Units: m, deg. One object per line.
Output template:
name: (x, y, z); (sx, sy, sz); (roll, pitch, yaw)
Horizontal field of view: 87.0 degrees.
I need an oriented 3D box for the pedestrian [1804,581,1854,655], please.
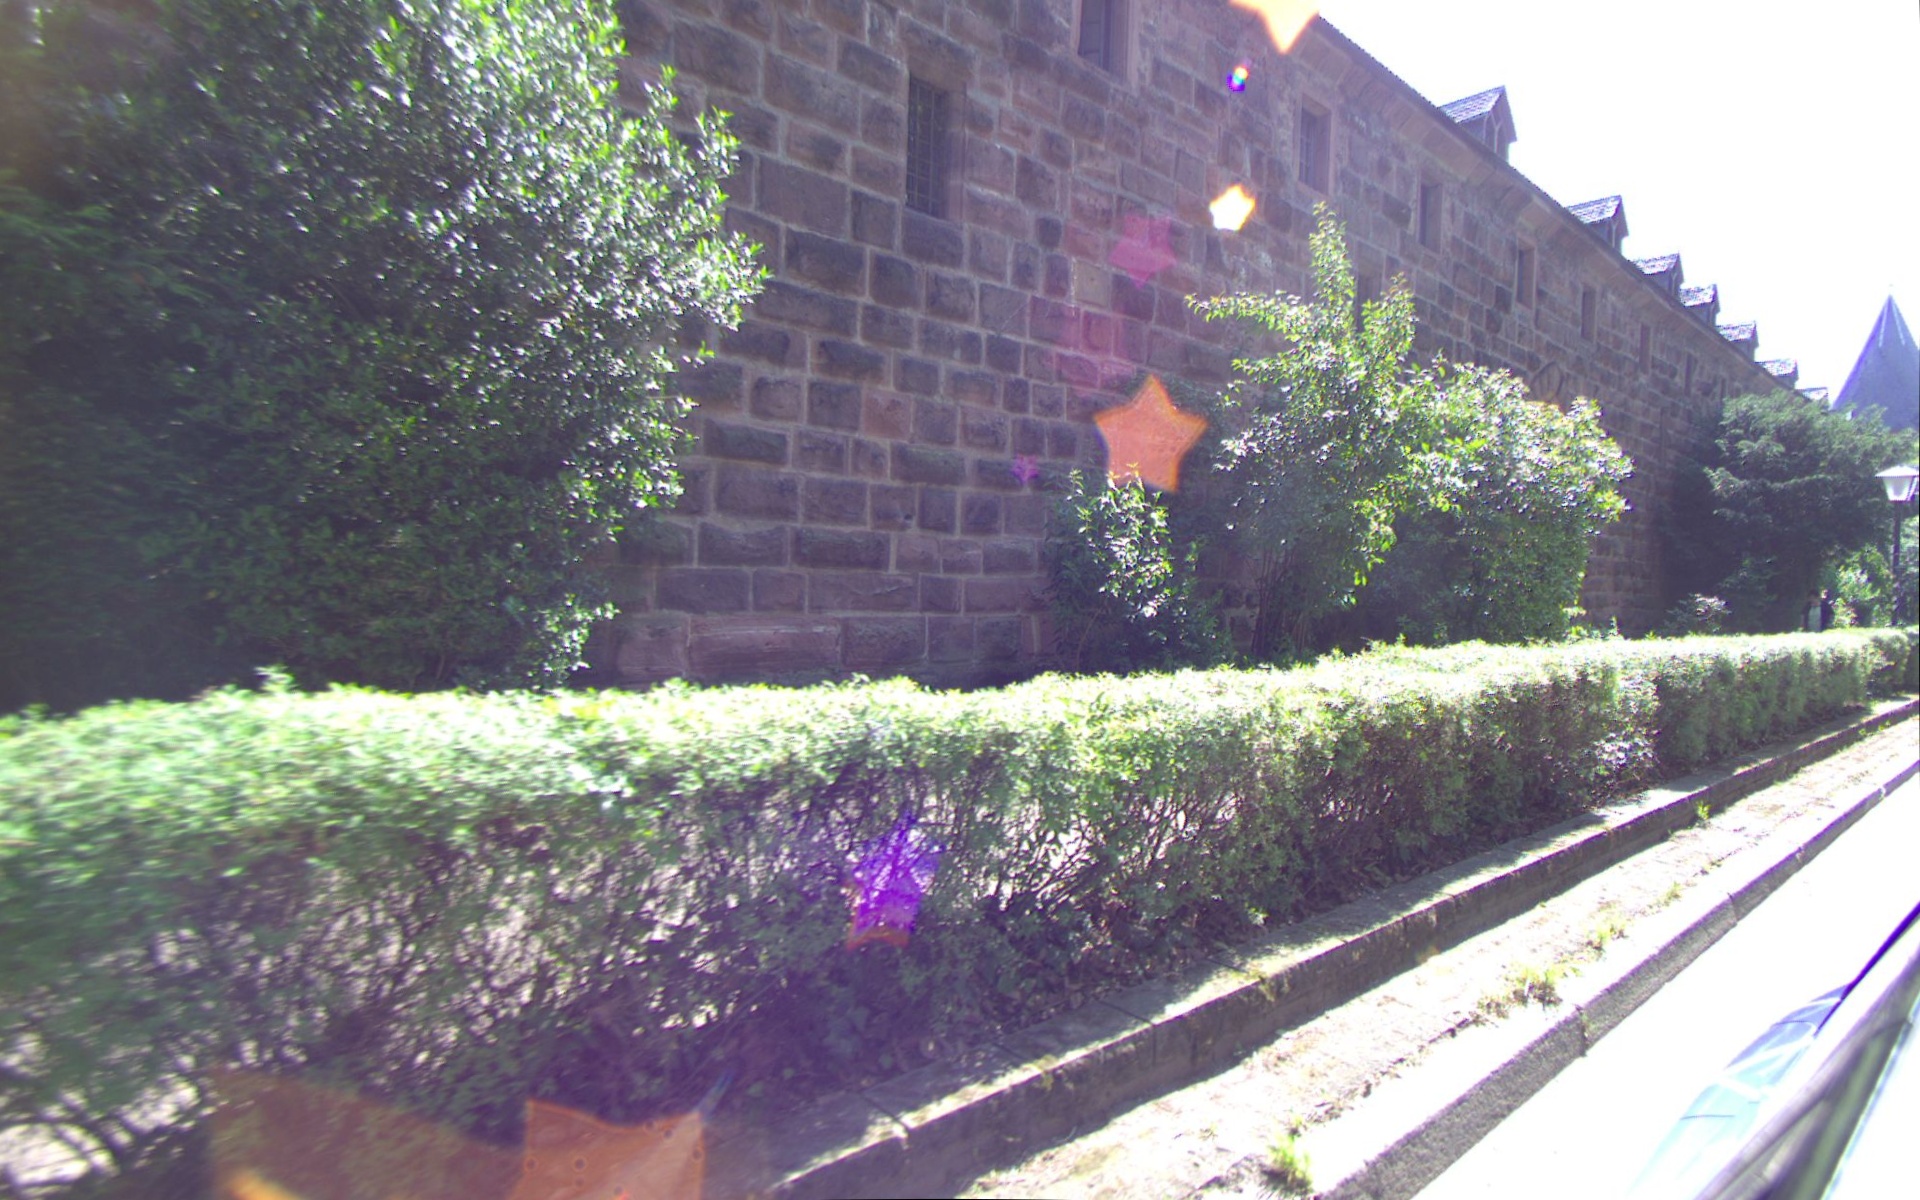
pedestrian: (20.395, 0.411, 23.743); (0.692, 1.673, 0.700); (1, 2, -38)
